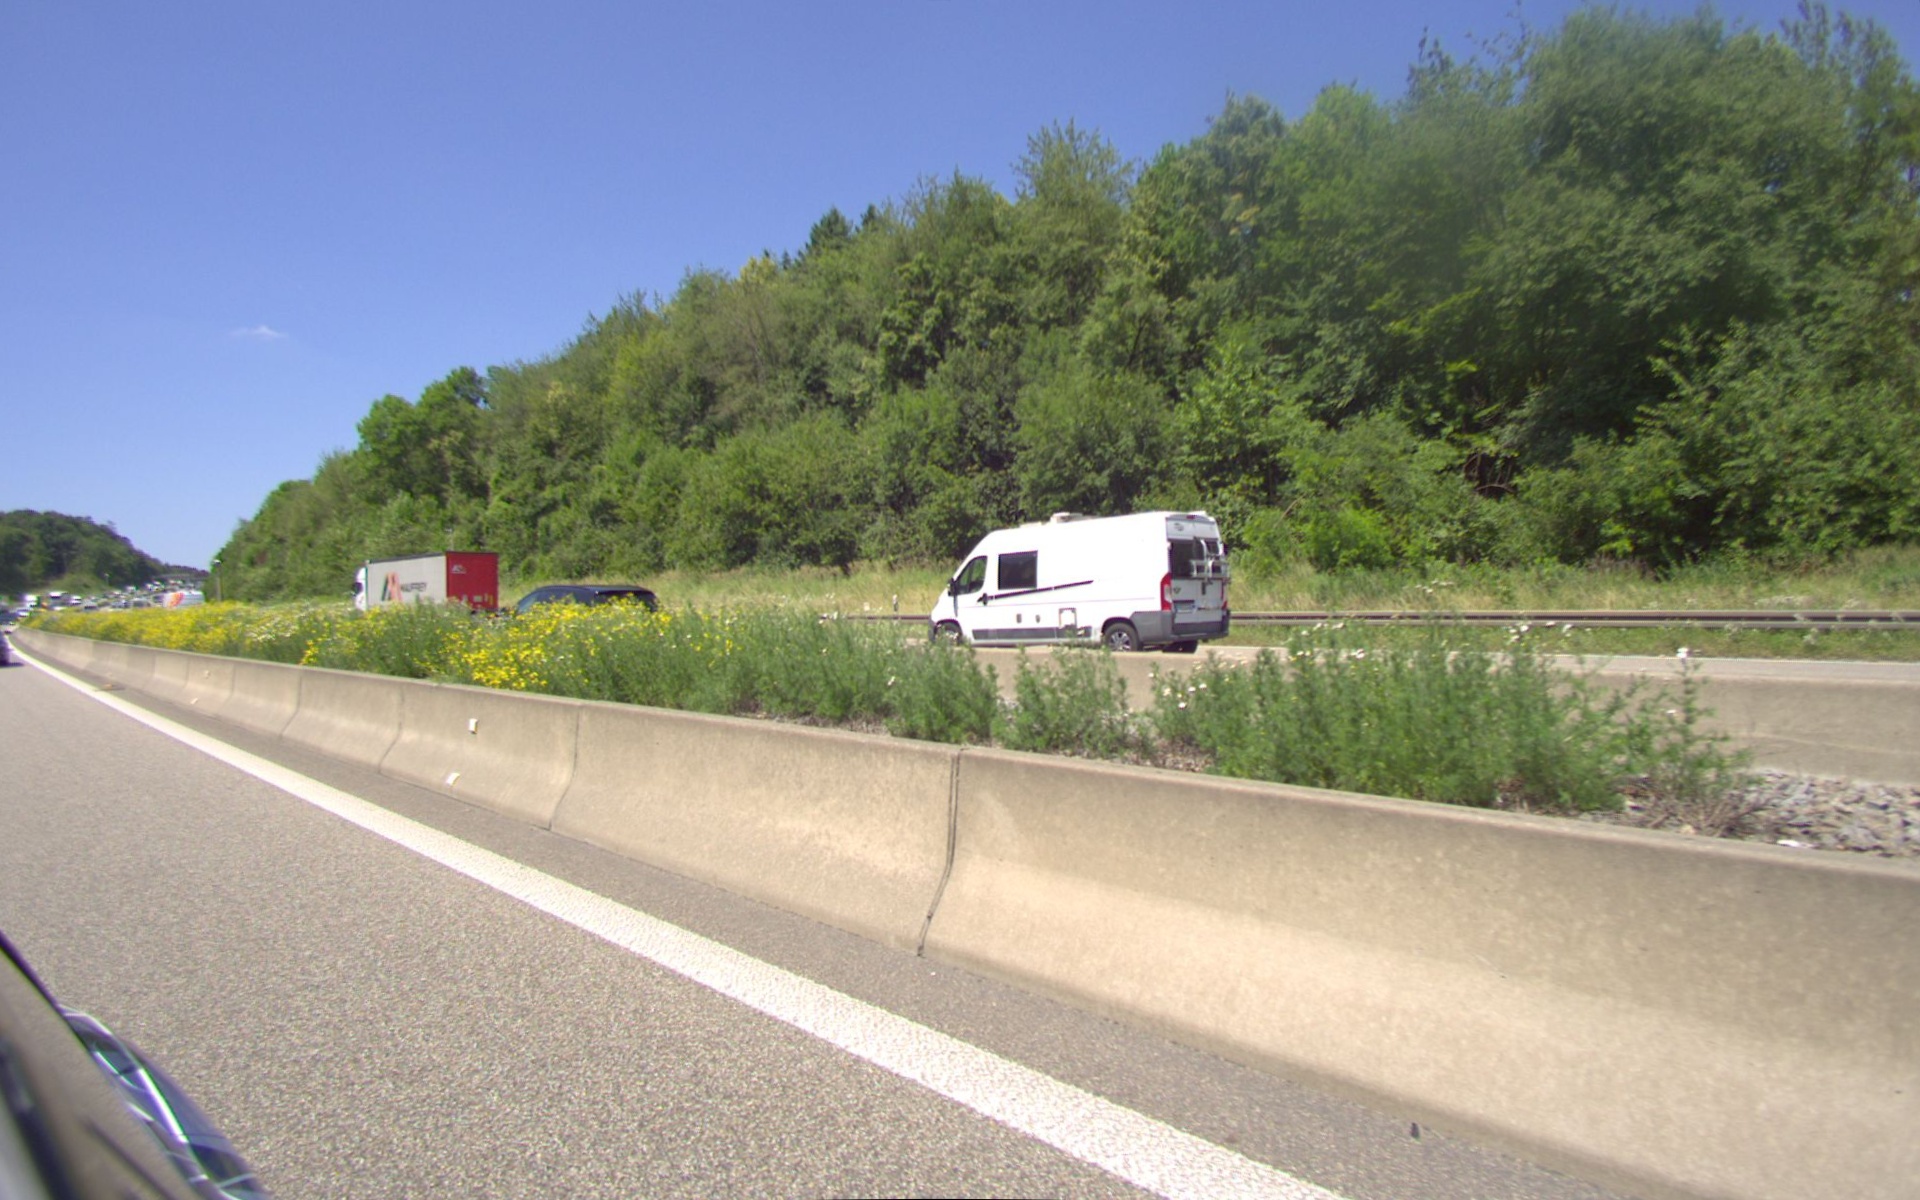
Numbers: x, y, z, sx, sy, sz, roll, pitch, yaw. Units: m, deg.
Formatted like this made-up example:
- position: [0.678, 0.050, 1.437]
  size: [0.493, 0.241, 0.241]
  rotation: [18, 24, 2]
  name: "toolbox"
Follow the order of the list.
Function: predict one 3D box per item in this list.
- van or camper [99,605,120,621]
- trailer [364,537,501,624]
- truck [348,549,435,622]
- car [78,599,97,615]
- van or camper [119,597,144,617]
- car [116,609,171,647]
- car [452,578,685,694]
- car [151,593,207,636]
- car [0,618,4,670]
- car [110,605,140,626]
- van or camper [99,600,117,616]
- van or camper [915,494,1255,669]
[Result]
- position: [-109.714, 1.683, 130.517]
  size: [1.673, 2.027, 4.215]
  rotation: [-1, 0, -44]
  name: "van or camper"
- position: [-29.304, -1.024, 55.763]
  size: [13.072, 4.263, 2.893]
  rotation: [0, 1, 45]
  name: "trailer"
- position: [-34.115, -0.858, 60.639]
  size: [6.091, 4.137, 2.930]
  rotation: [0, 1, 45]
  name: "truck"
- position: [-153.691, 1.187, 178.280]
  size: [2.175, 2.762, 5.750]
  rotation: [-1, 0, -45]
  name: "car"
- position: [-142.241, 1.205, 173.757]
  size: [2.510, 3.342, 9.008]
  rotation: [-1, 1, -44]
  name: "van or camper"
- position: [-46.406, 1.546, 57.468]
  size: [4.002, 2.029, 1.971]
  rotation: [0, 1, 44]
  name: "car"
- position: [-6.805, 0.504, 17.325]
  size: [4.628, 1.722, 1.903]
  rotation: [0, 1, 43]
  name: "car"
- position: [-55.307, 1.039, 71.589]
  size: [7.464, 2.918, 2.045]
  rotation: [-1, 0, 44]
  name: "car"
- position: [-29.656, 1.300, 30.038]
  size: [4.002, 1.490, 1.697]
  rotation: [-1, 0, 45]
  name: "car"
- position: [-83.897, 1.559, 101.635]
  size: [4.001, 2.029, 1.857]
  rotation: [0, 1, 44]
  name: "car"
- position: [-165.543, 1.569, 196.575]
  size: [2.231, 2.921, 6.562]
  rotation: [1, -1, -44]
  name: "van or camper"
- position: [2.075, -0.263, 18.651]
  size: [6.152, 2.721, 2.062]
  rotation: [-1, 0, 43]
  name: "van or camper"
